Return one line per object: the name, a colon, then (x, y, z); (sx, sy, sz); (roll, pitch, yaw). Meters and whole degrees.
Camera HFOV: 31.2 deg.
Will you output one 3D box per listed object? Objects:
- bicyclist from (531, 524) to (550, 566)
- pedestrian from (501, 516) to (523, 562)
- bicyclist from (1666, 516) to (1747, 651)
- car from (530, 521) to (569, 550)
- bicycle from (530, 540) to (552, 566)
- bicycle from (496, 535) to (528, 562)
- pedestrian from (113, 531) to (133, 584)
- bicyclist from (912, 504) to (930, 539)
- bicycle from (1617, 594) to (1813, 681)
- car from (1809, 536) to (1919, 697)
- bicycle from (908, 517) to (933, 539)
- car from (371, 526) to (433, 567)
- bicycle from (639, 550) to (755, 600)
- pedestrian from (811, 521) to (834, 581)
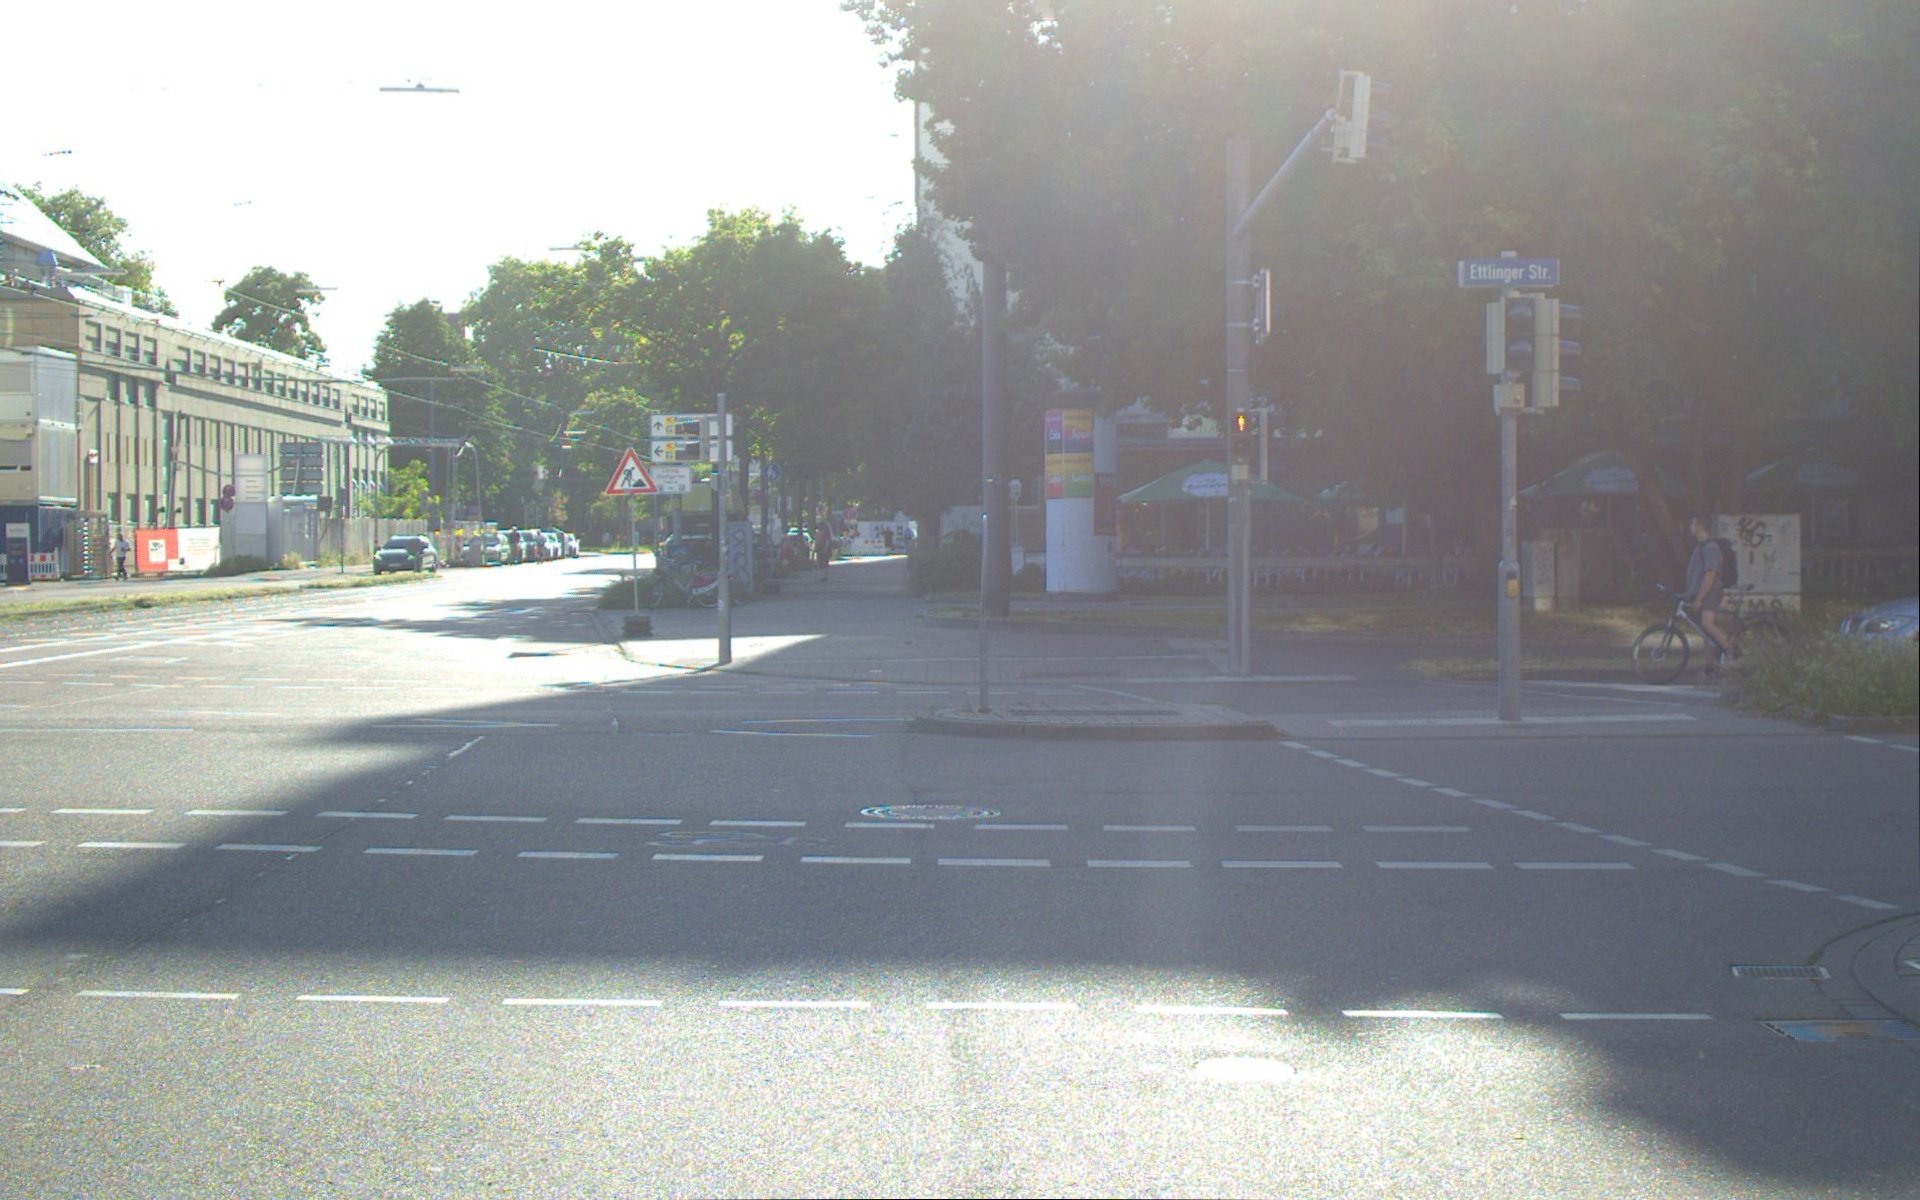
bicyclist: (-19.537, -2.564, 160.293); (0.750, 1.913, 1.215); (1, 0, -2)
pedestrian: (-20.189, -2.752, 154.956); (0.751, 2.056, 1.050); (1, 0, 5)
bicyclist: (7.892, -0.176, 36.371); (0.747, 1.401, 0.702); (1, 0, 6)
car: (-23.239, -3.654, 194.685); (1.993, 1.638, 4.001); (-1, 1, -4)
bicycle: (-19.551, -2.193, 160.416); (0.750, 1.201, 3.108); (1, 1, -2)
bicycle: (-20.190, -2.317, 154.963); (0.751, 1.201, 3.107); (1, 1, 5)
pedestrian: (-30.022, -1.522, 123.368); (0.588, 1.883, 0.478); (1, 0, -1)
bicyclist: (-2.301, -4.595, 200.526); (0.890, 2.007, 0.749); (1, 0, -12)
bicycle: (7.974, 0.387, 36.372); (1.944, 0.886, 0.718); (1, 0, 6)
car: (10.838, 0.173, 33.565); (4.576, 1.511, 2.000); (1, 0, 0)
bicycle: (-2.317, -4.194, 200.507); (0.890, 1.215, 2.794); (1, 1, -12)
car: (-22.024, -2.127, 135.744); (1.993, 1.593, 4.001); (-1, 1, -3)
bicycle: (-5.142, -0.490, 67.211); (2.244, 0.937, 0.654); (-1, 1, -5)
pedestrian: (-3.898, -1.388, 97.665); (0.576, 1.683, 0.585); (-1, 1, -8)
